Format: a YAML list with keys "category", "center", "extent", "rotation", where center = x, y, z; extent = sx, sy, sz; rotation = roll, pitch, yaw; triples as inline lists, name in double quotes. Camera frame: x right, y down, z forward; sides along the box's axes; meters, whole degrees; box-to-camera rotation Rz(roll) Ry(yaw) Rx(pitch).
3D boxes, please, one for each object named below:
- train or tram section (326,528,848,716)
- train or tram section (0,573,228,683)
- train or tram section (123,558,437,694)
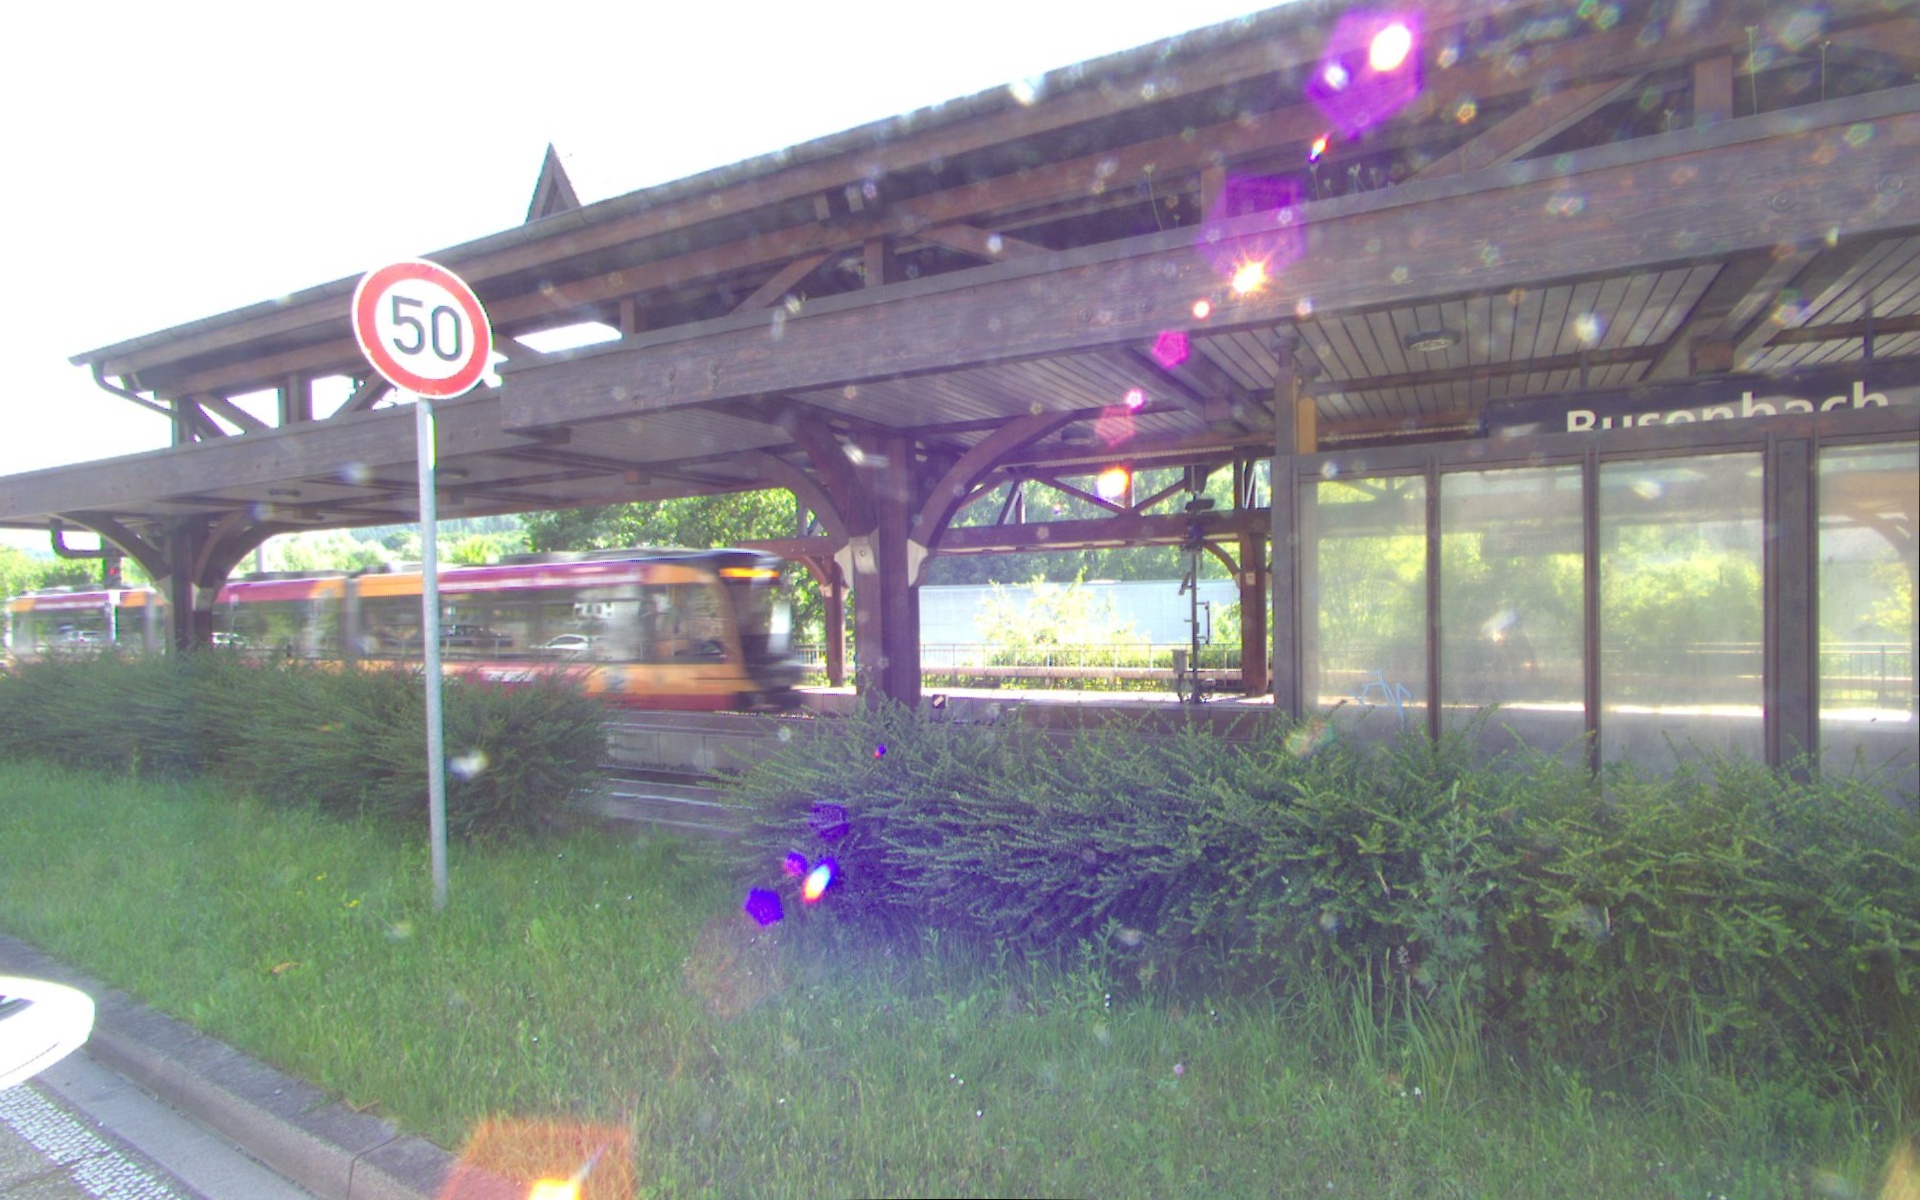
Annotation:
- category: "train or tram section"
  center: [-9.115, 0.504, 22.862]
  extent: [14.139, 3.408, 2.853]
  rotation: [-1, -1, 30]
- category: "train or tram section"
  center: [-30.287, 0.929, 35.157]
  extent: [11.866, 3.407, 2.754]
  rotation: [0, -2, 30]
- category: "train or tram section"
  center: [-20.179, 0.815, 29.306]
  extent: [11.870, 3.406, 2.784]
  rotation: [-1, -2, 31]
